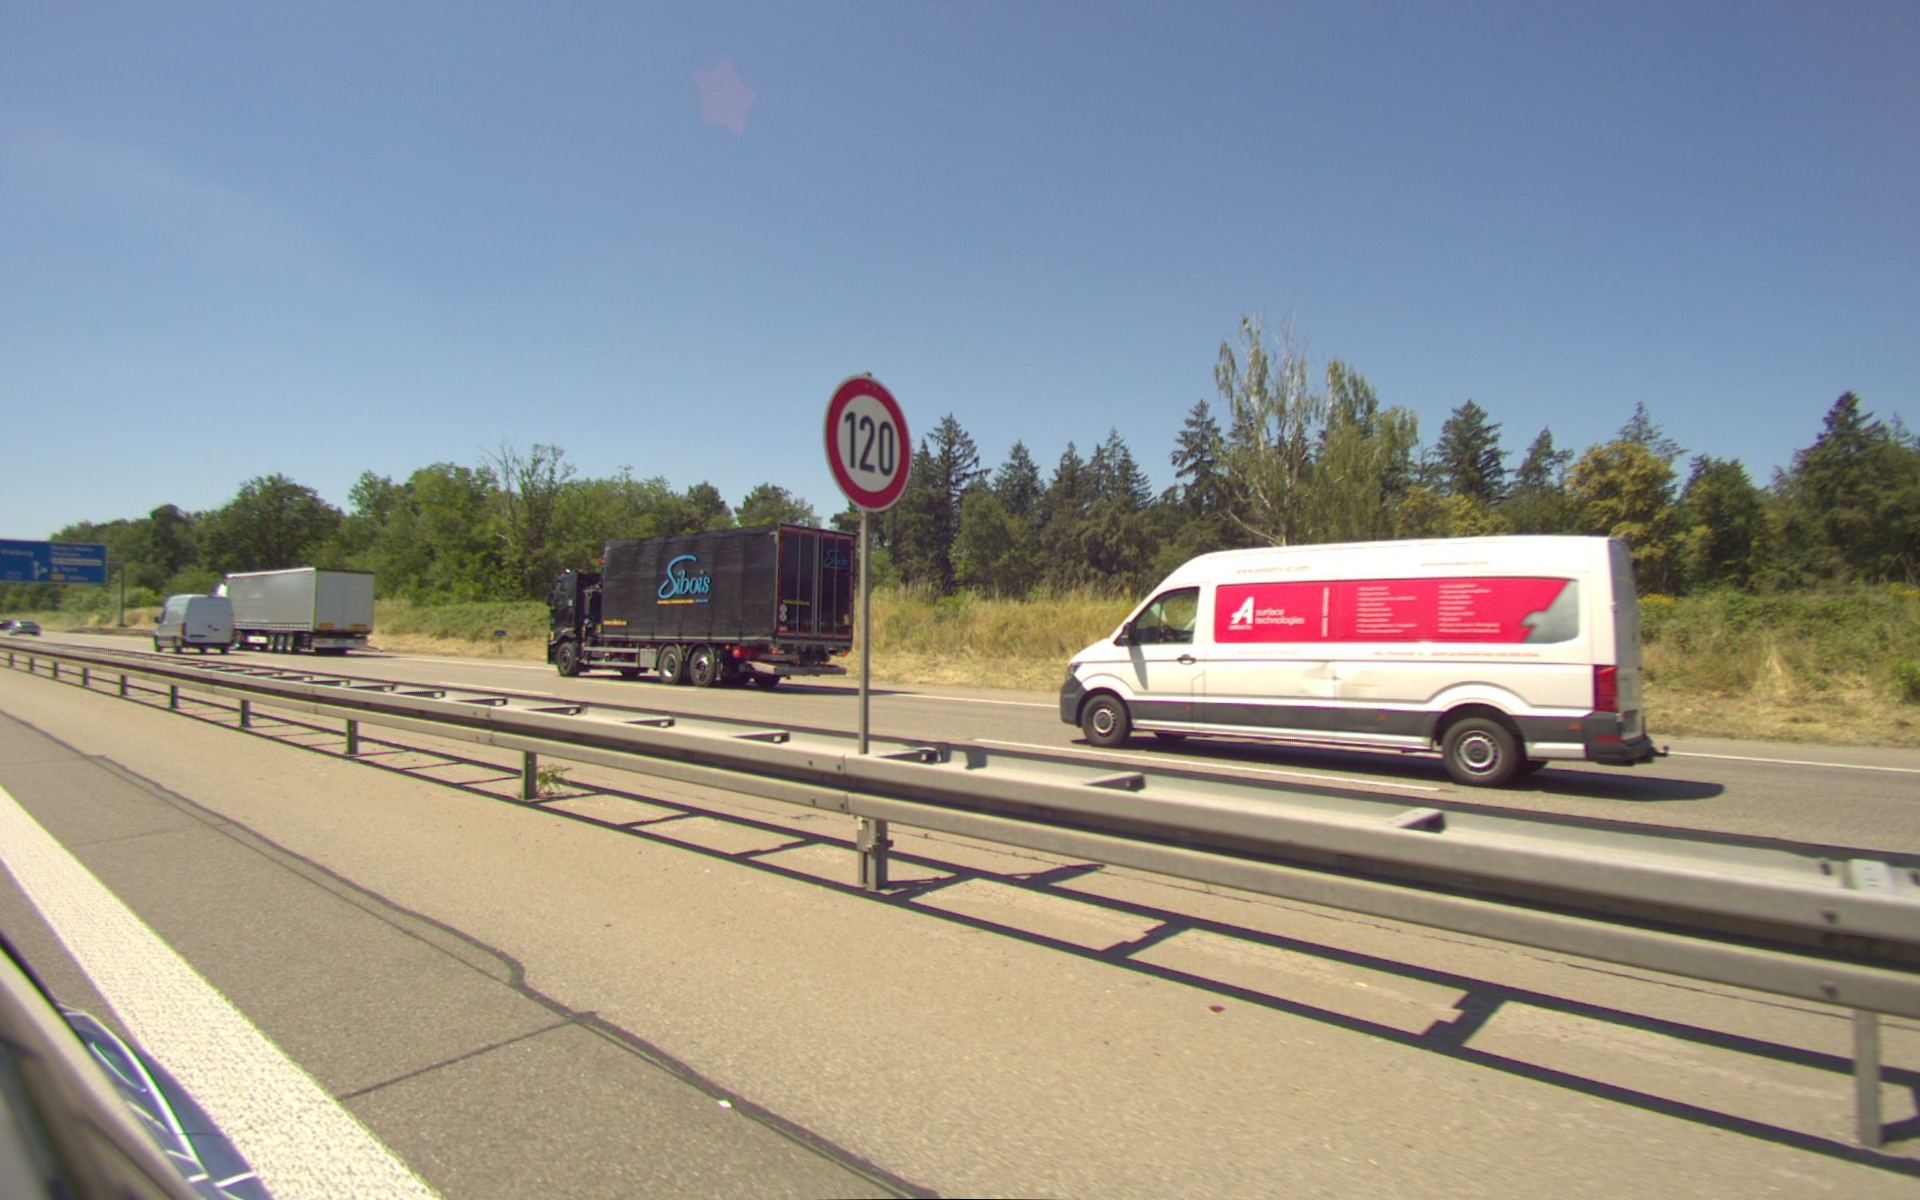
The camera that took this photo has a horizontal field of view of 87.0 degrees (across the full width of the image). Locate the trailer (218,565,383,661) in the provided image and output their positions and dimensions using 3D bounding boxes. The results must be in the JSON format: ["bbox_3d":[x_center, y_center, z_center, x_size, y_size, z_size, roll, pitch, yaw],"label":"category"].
[{"bbox_3d":[-33.542,0.757,51.032,14.119,4.230,3.122,-1,-4,41],"label":"trailer"}]

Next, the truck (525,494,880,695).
[{"bbox_3d":[-7.774,0.030,28.748,12.181,4.660,3.341,-1,-4,41],"label":"truck"}]

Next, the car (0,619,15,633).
[{"bbox_3d":[-115.195,3.119,121.544,5.287,1.537,1.941,-1,-3,41],"label":"car"}]

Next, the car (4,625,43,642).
[{"bbox_3d":[-83.271,2.982,89.953,5.287,1.440,1.941,-1,-3,41],"label":"car"}]

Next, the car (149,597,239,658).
[{"bbox_3d":[-35.138,1.265,46.343,6.387,2.590,1.972,-1,-4,41],"label":"car"}]

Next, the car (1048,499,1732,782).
[{"bbox_3d":[4.639,0.461,12.071,7.129,2.467,2.339,-1,-4,41],"label":"car"}]

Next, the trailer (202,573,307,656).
[{"bbox_3d":[-38.861,0.862,55.697,6.323,4.230,3.122,-1,-4,41],"label":"trailer"}]
